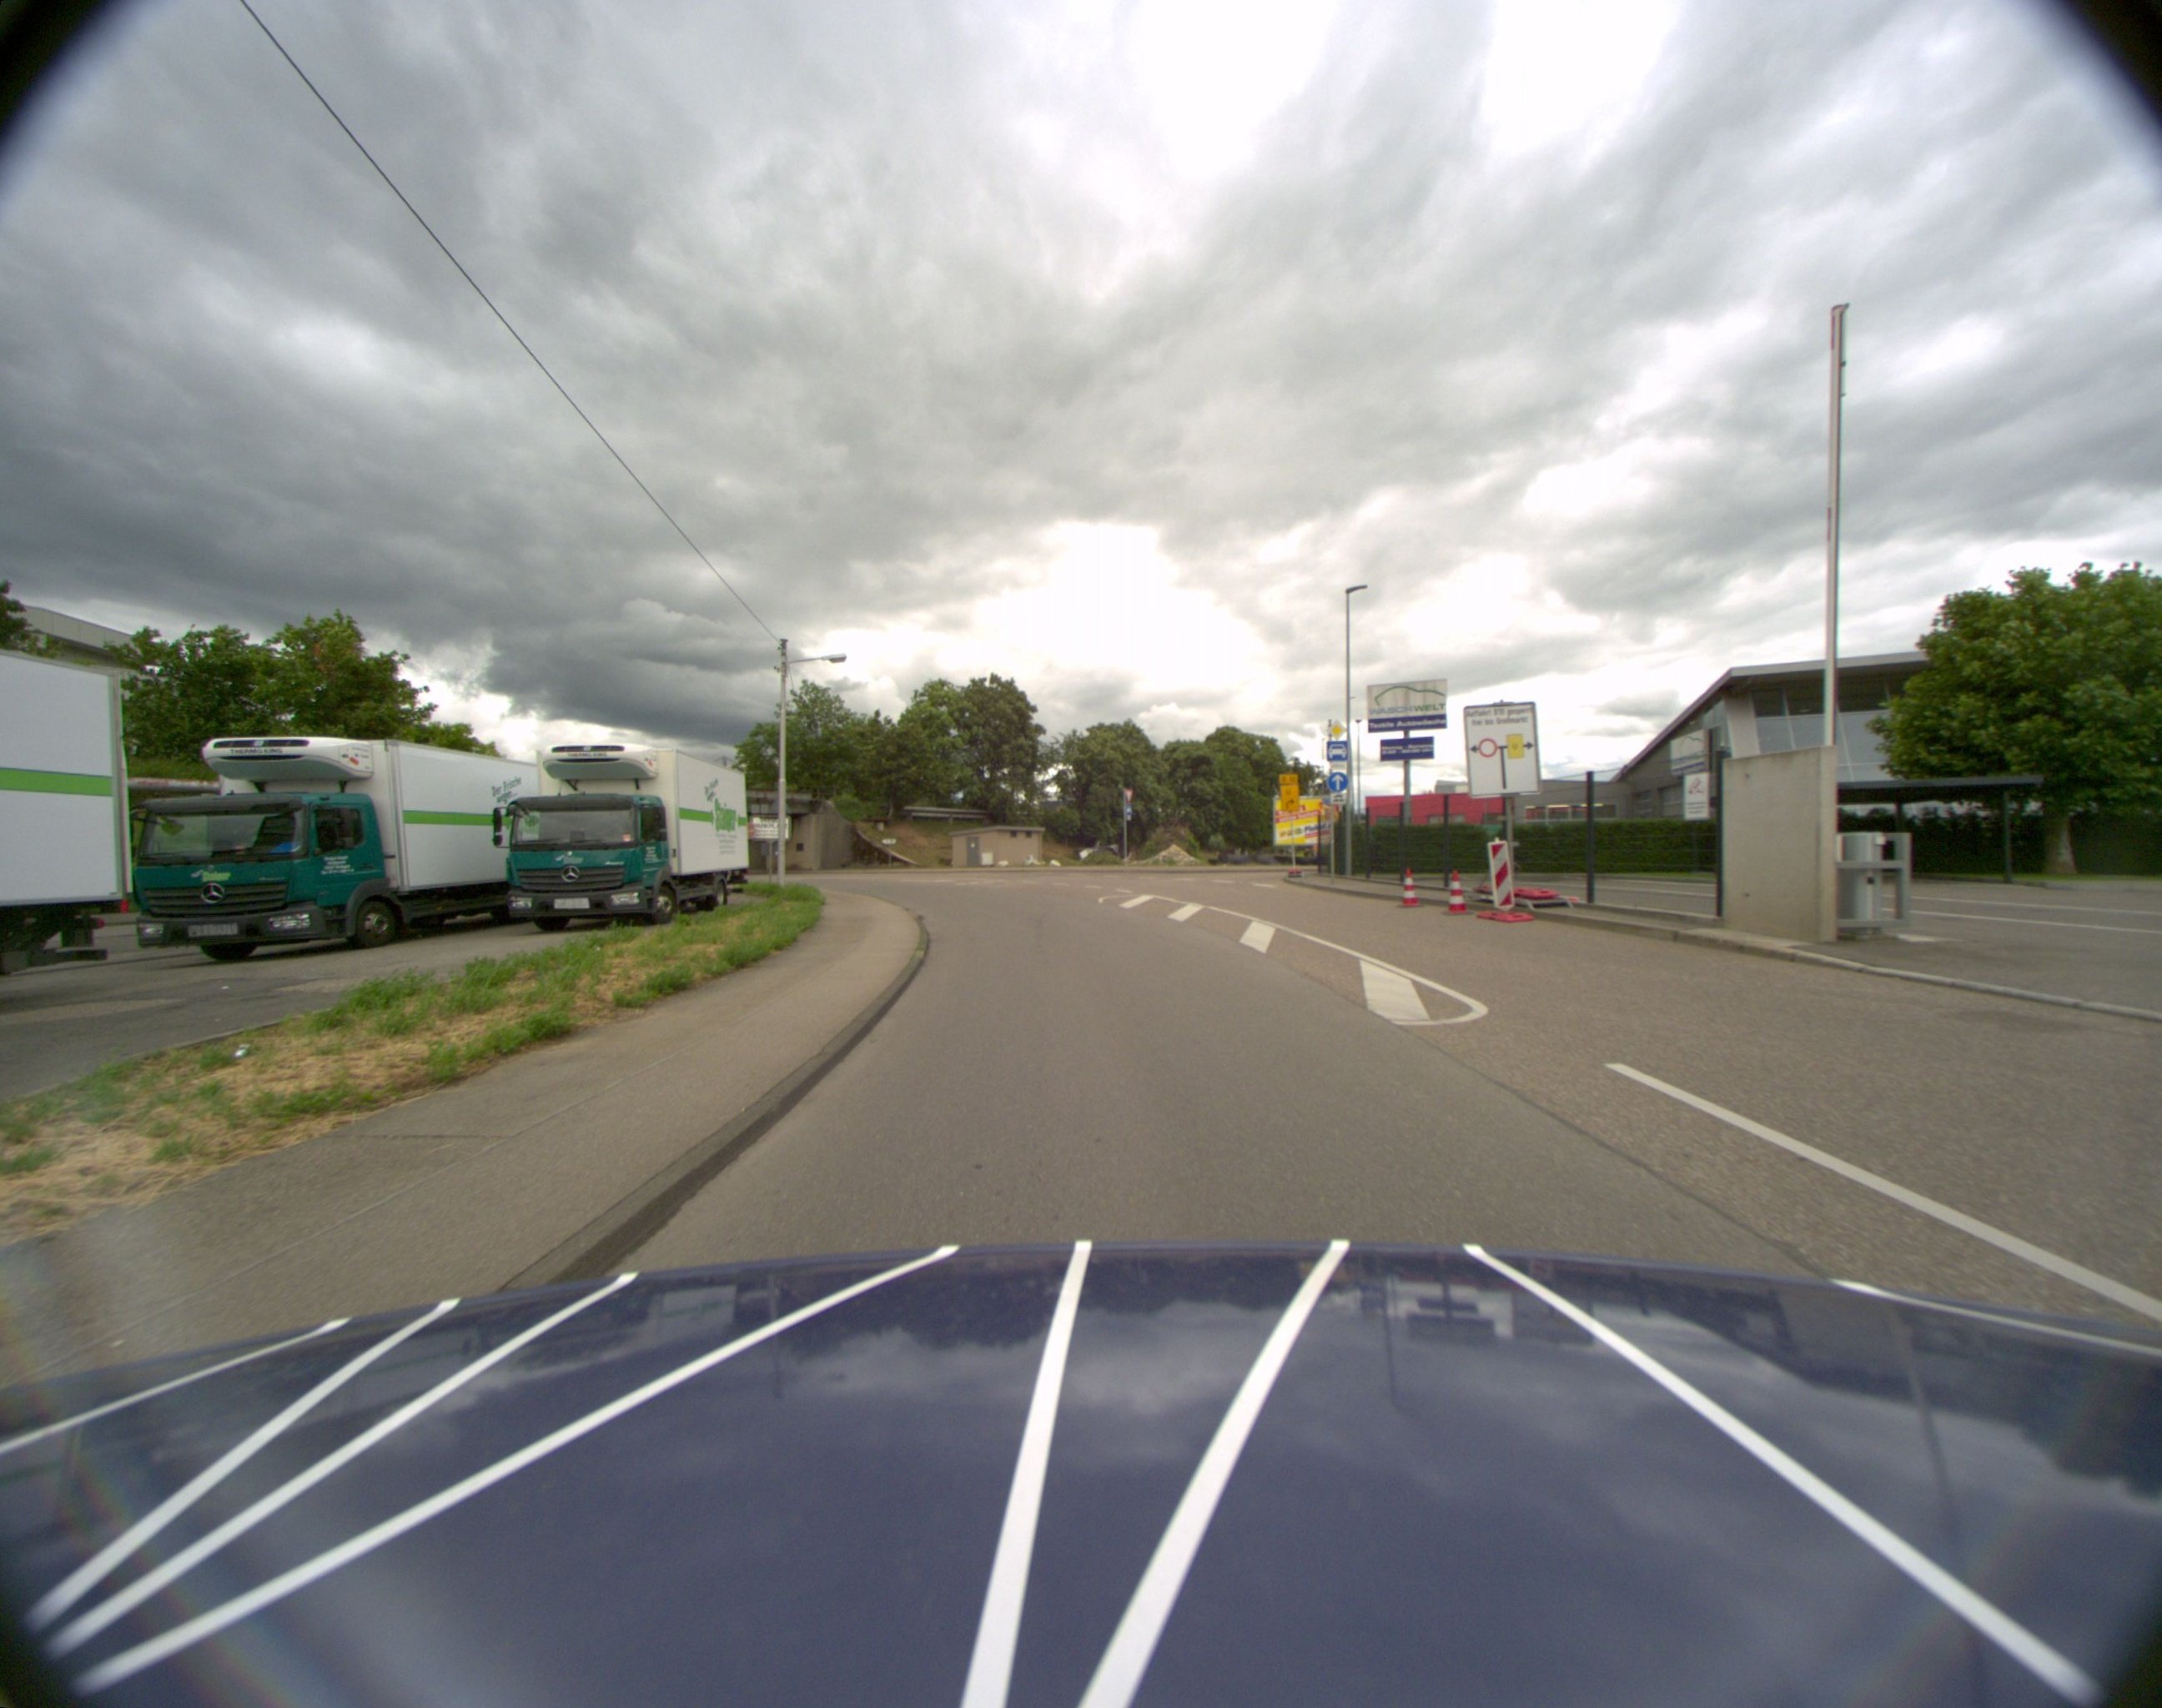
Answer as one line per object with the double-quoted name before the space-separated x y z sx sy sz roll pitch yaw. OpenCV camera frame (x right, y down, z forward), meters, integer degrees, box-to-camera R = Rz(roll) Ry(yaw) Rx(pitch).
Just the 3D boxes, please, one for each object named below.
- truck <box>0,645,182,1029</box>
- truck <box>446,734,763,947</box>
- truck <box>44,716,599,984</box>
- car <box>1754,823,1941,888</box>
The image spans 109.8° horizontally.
"truck" -11.778 -0.135 3.730 2.988 3.808 10.428 -2 0 -6
"truck" -10.006 -0.314 17.466 3.073 3.610 8.595 -2 1 -11
"truck" -13.389 -0.132 15.054 3.072 3.611 8.596 -4 1 -9
"car" 21.605 0.014 21.700 2.069 1.660 4.253 -1 1 19
